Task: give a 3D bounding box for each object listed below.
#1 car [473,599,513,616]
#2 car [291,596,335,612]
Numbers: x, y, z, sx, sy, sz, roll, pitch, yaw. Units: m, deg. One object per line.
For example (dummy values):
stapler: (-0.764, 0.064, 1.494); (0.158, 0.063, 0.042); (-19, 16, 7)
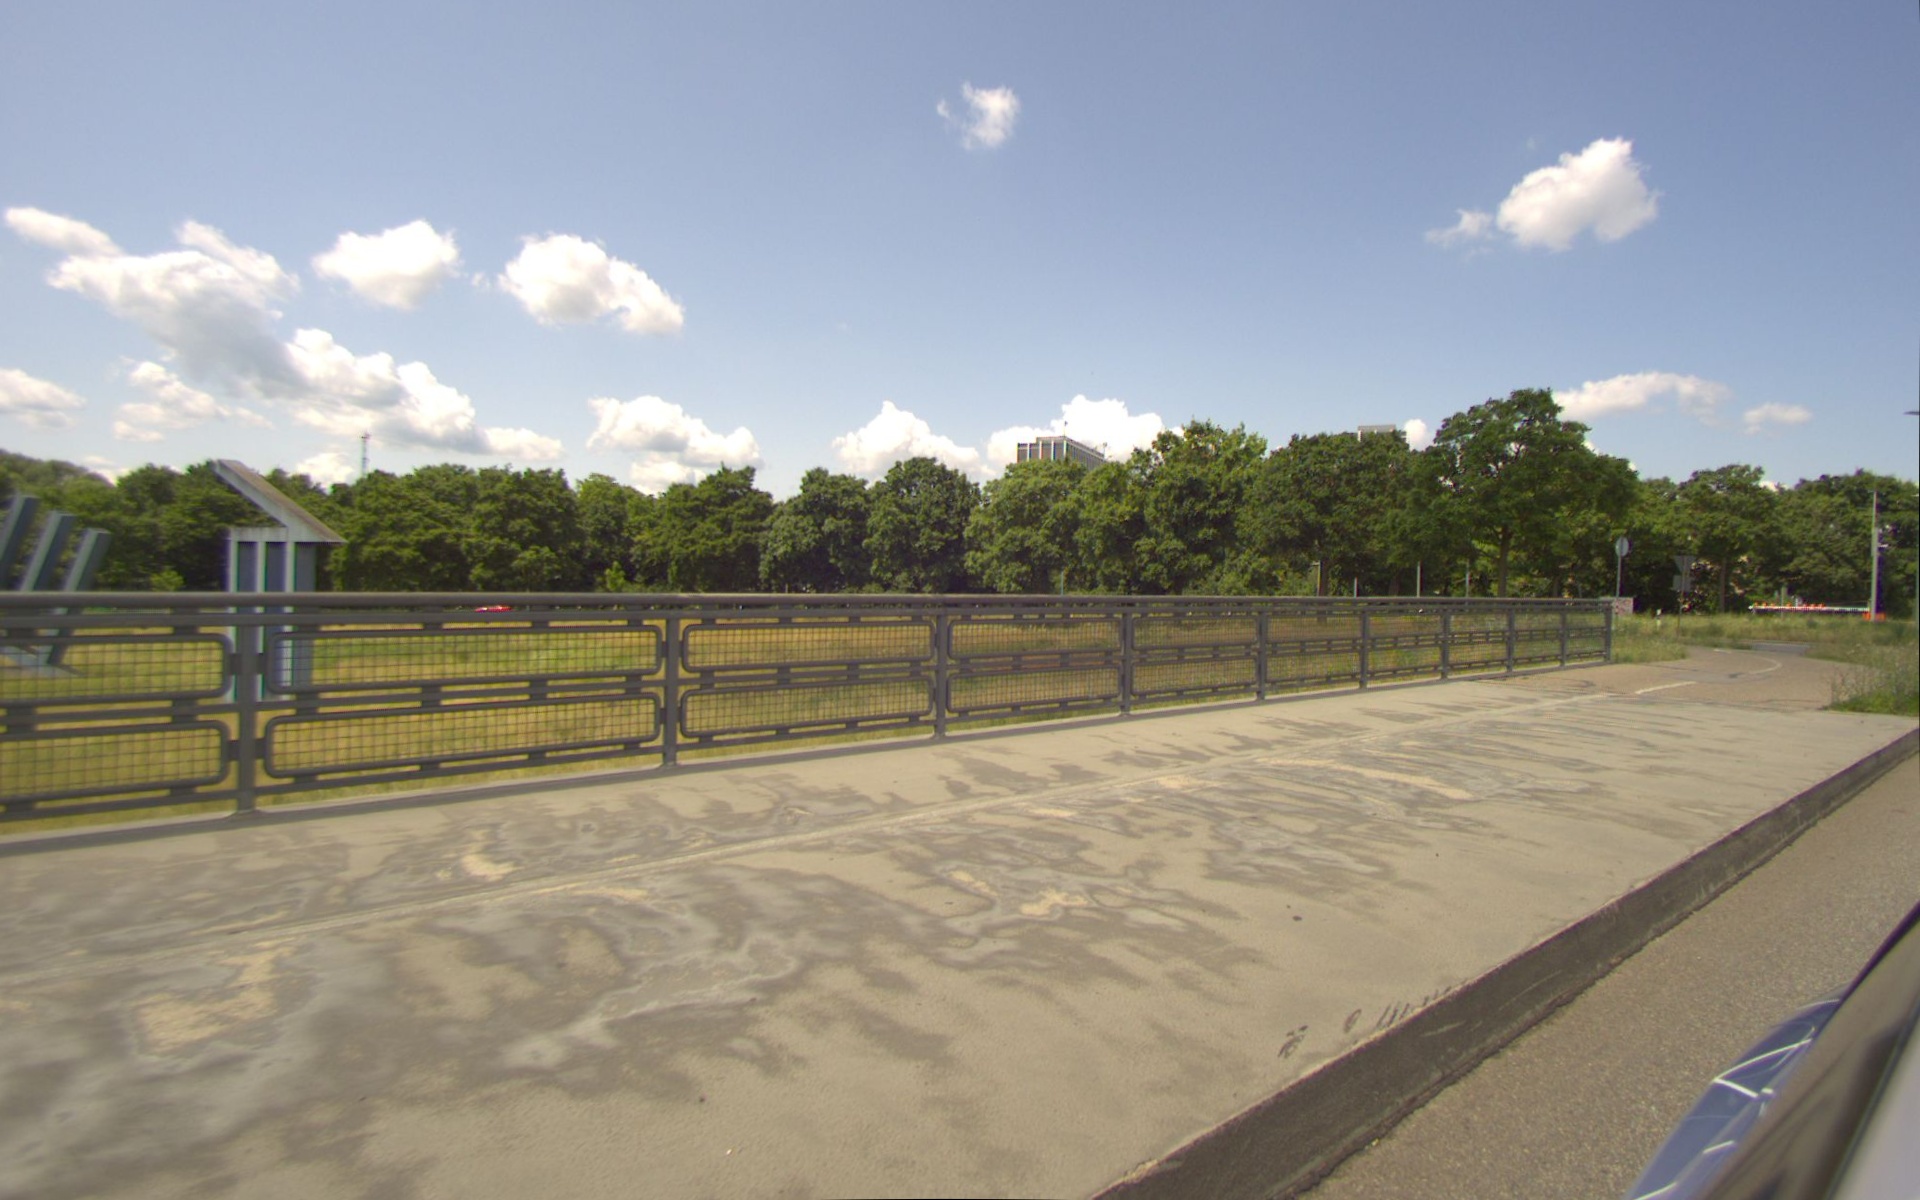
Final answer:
car: (-55.127, 0.870, 119.493); (3.944, 2.039, 1.989); (0, -1, 17)
car: (-76.256, 0.484, 119.344); (3.921, 1.906, 2.001); (1, -1, -4)
